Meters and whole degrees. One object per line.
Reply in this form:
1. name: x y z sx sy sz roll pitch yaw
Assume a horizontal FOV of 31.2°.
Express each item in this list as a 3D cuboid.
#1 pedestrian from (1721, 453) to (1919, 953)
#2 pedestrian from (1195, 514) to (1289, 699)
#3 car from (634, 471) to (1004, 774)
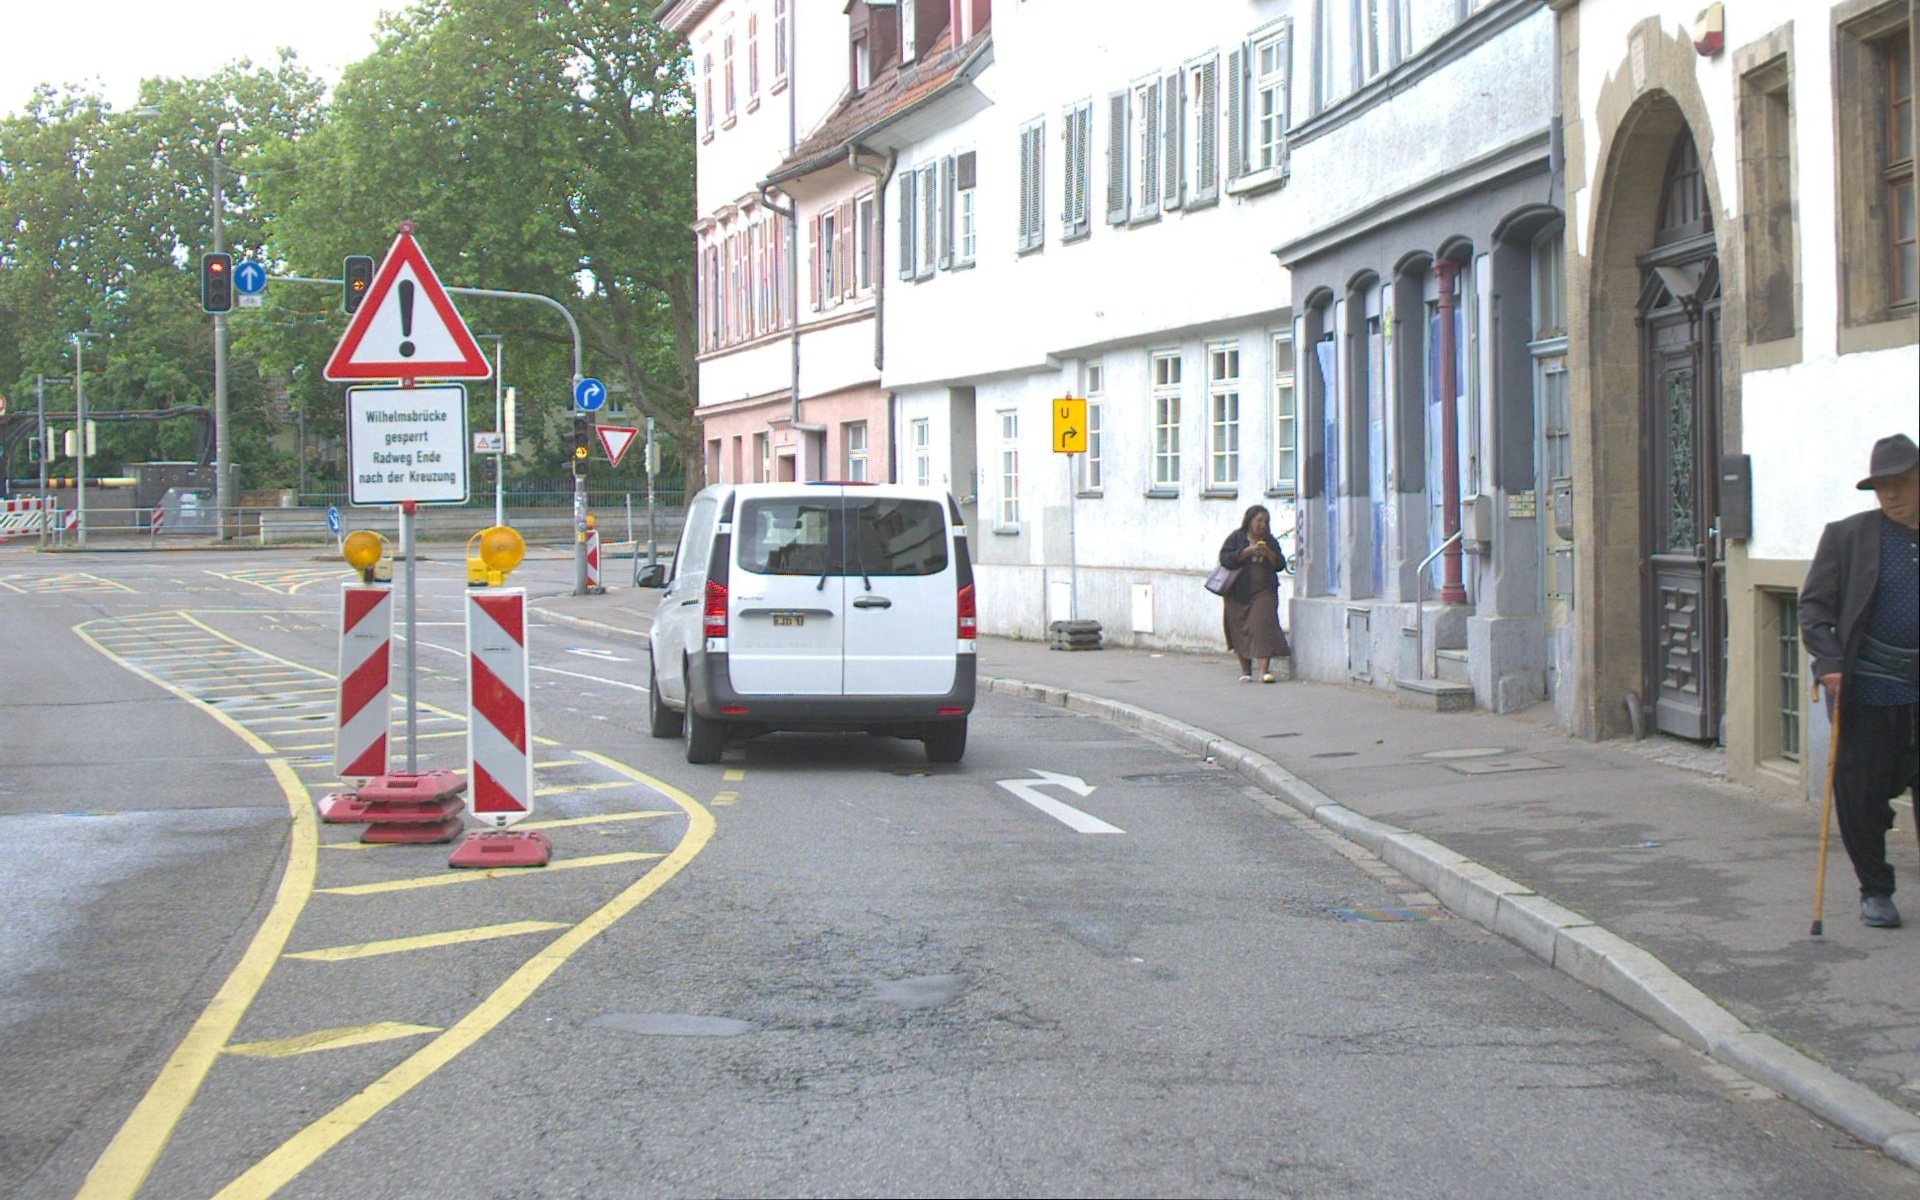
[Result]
1. pedestrian: 3.205 0.327 11.938 0.831 1.650 0.944 -3 1 -1
2. pedestrian: 2.567 0.050 31.348 0.755 1.662 0.809 0 1 -2
3. car: -1.093 0.111 24.152 1.993 1.916 4.250 1 1 -10
